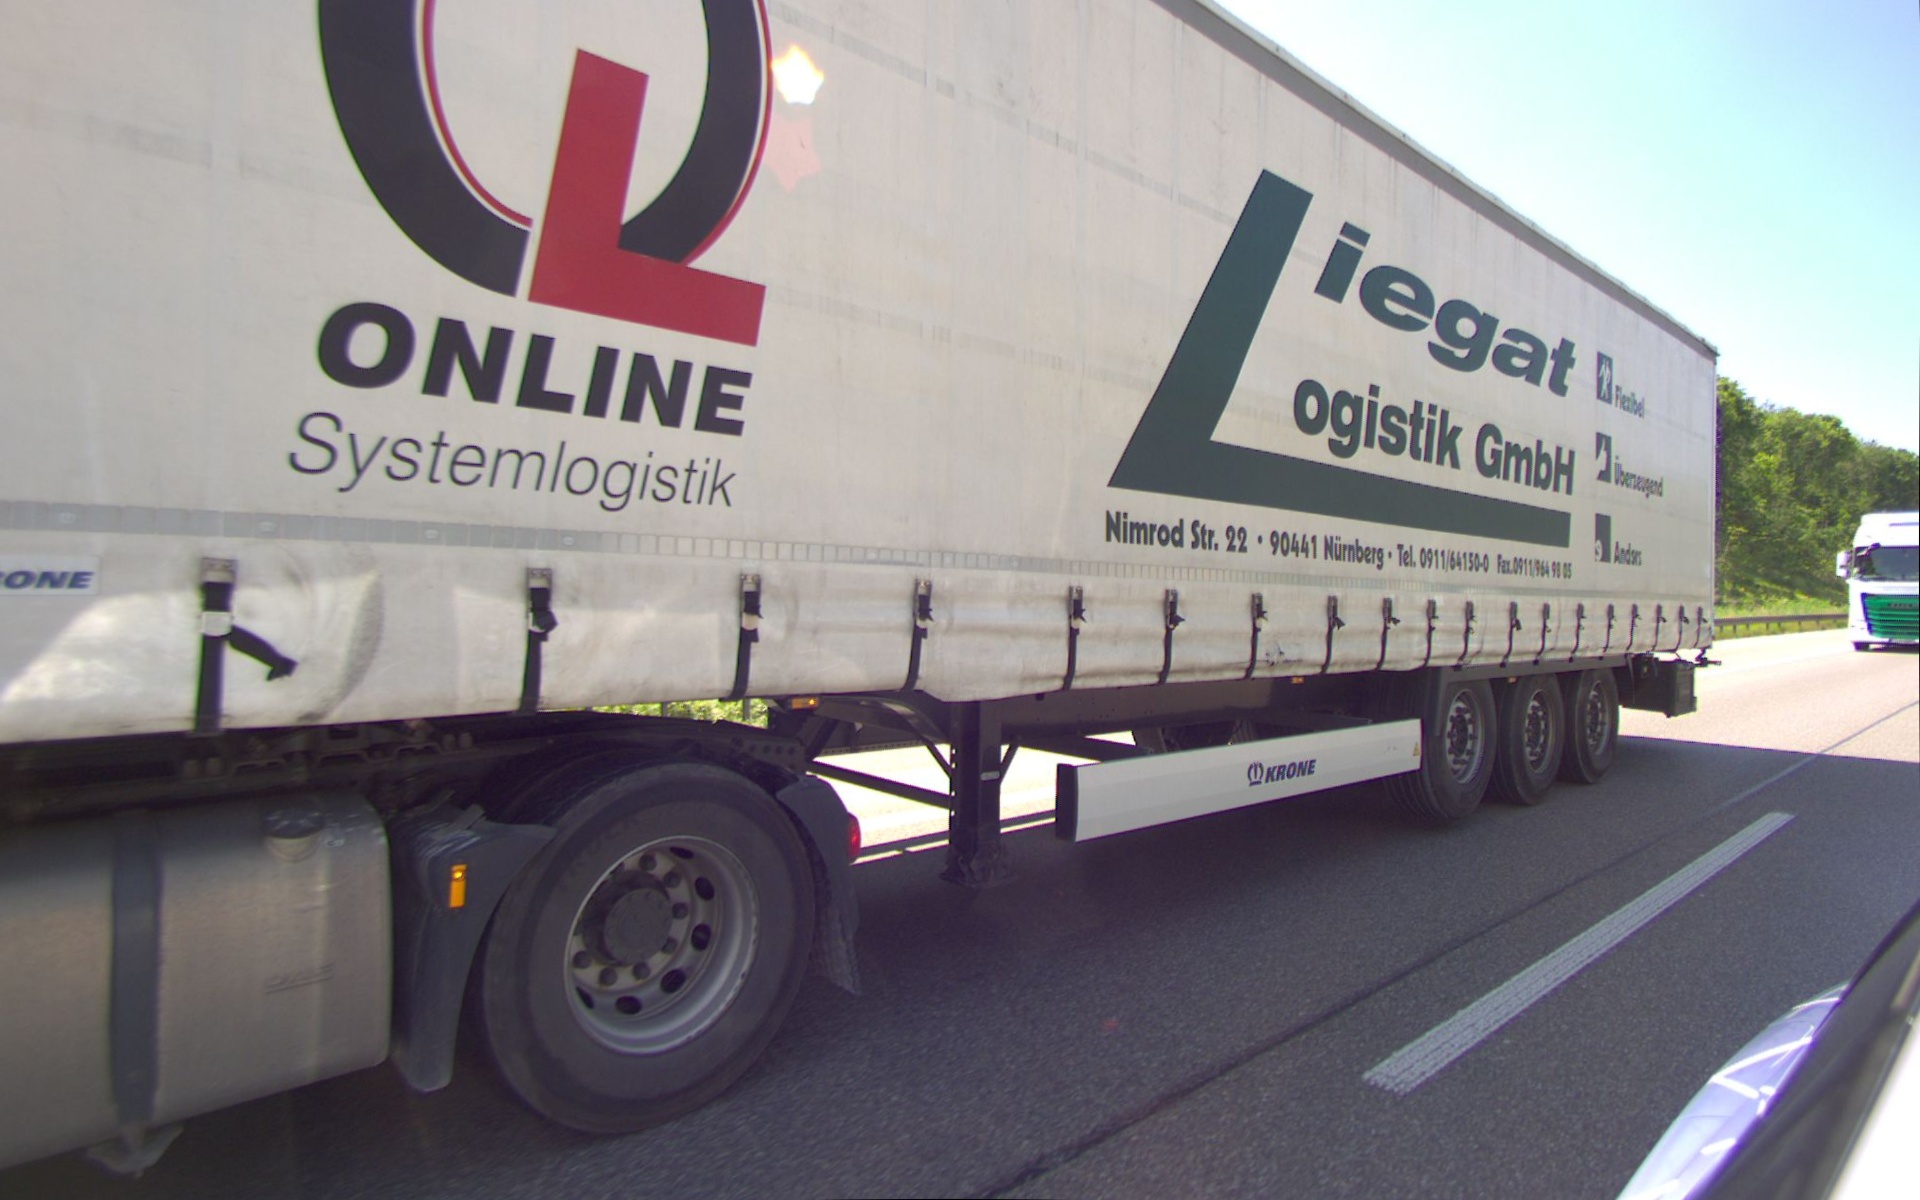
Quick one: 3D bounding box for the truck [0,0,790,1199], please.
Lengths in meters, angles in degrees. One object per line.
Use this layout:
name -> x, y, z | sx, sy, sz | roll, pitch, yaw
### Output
truck -> -3.556, -0.661, 1.995 | 5.767, 4.259, 2.790 | 1, -1, -41

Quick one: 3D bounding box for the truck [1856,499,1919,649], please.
truck -> 28.632, -0.764, 29.632 | 6.506, 4.079, 2.541 | -1, 1, -39

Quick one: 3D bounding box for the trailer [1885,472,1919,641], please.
trailer -> 34.865, -1.414, 34.876 | 15.003, 5.103, 2.572 | -1, 1, -40

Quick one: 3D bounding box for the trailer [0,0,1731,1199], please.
trailer -> 1.948, -0.758, 6.864 | 13.012, 4.258, 2.790 | 1, -1, -42
